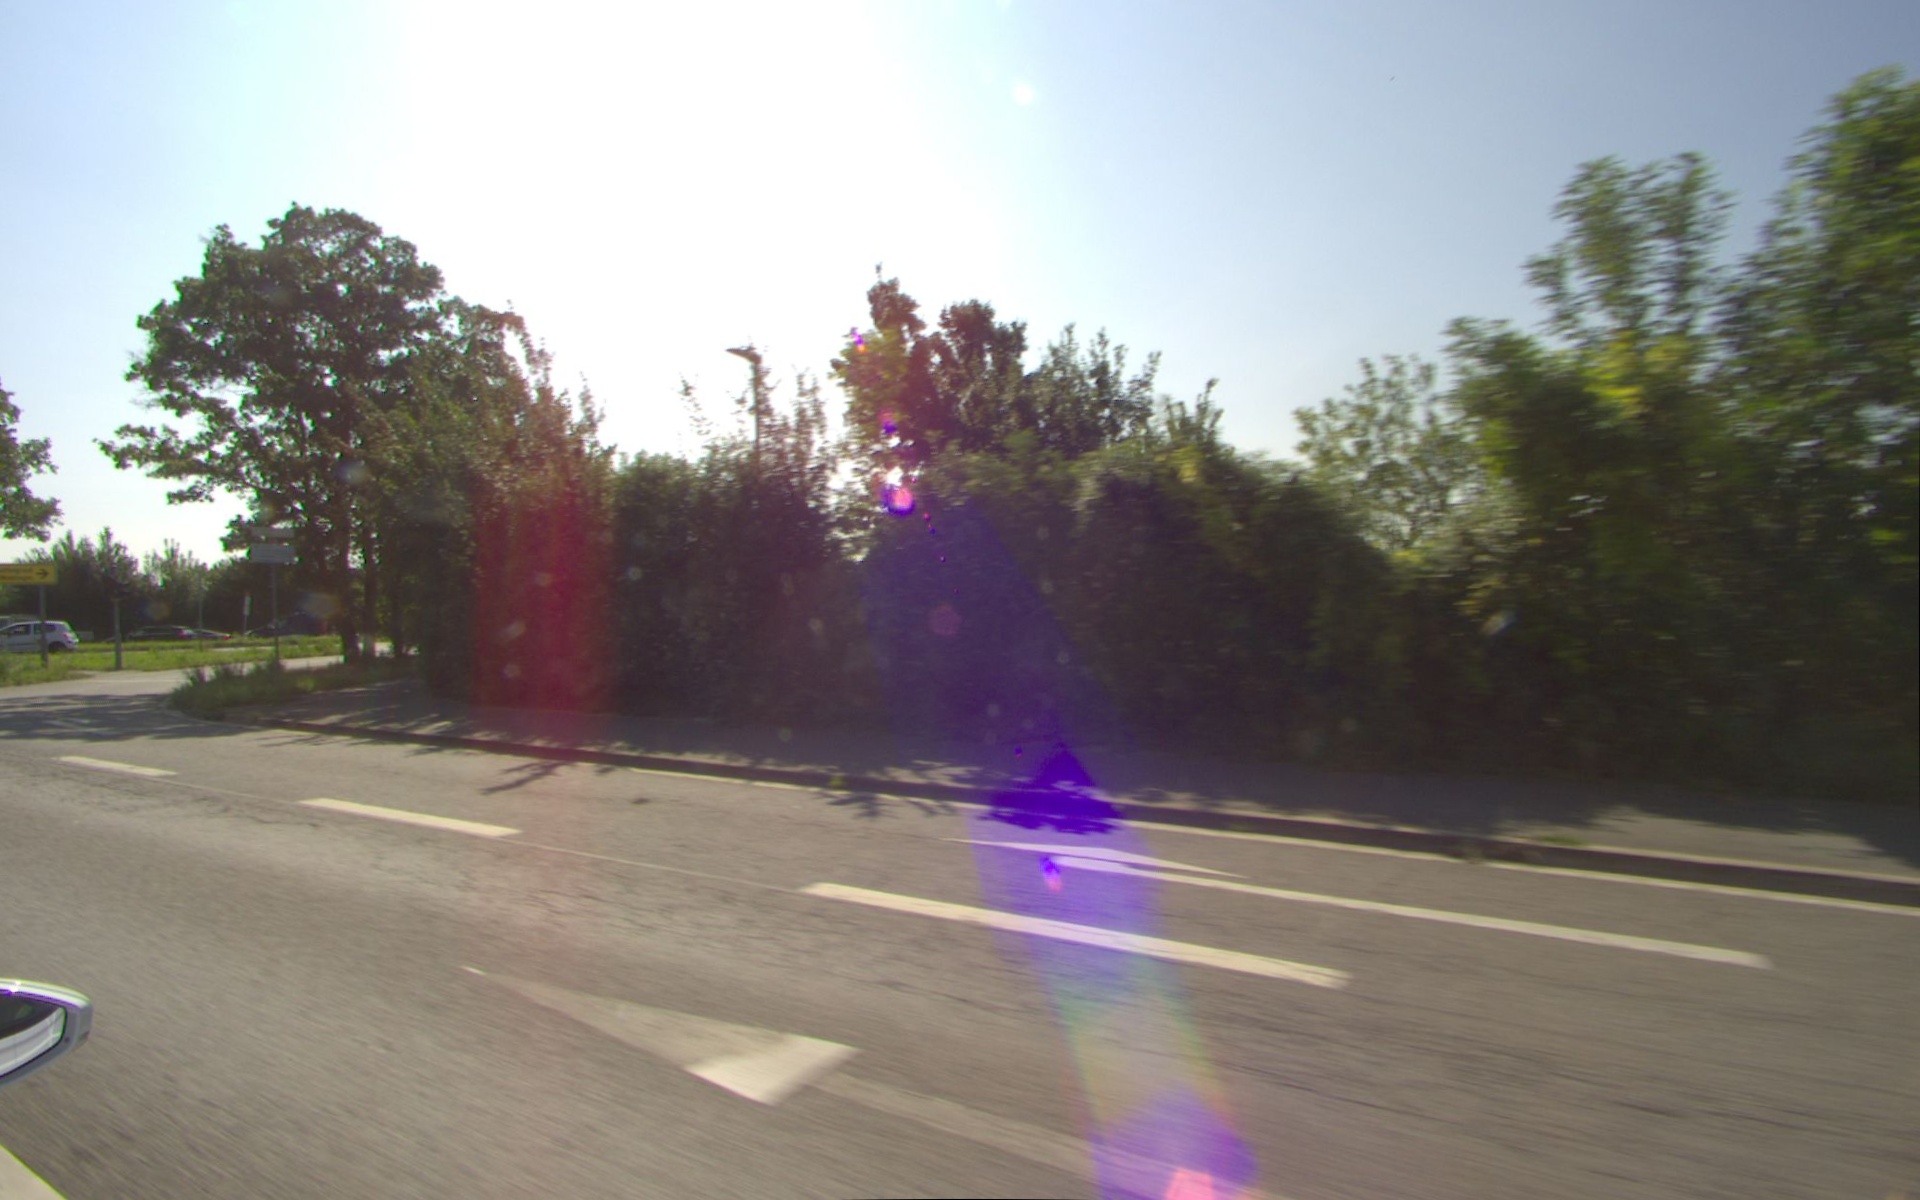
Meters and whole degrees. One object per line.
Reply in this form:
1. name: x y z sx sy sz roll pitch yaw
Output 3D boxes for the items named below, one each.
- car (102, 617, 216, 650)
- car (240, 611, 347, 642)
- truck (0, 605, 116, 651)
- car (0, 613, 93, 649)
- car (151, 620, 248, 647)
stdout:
1. car: -42.576 1.798 53.294 4.383 1.655 1.887 0 -2 -7
2. car: -35.928 1.431 54.072 4.387 1.655 1.885 0 -2 -14
3. truck: -50.980 1.567 55.475 6.349 2.416 2.347 -1 -2 -1
4. car: -40.209 1.317 43.461 3.706 1.488 1.774 0 0 -35
5. car: -42.866 1.908 56.535 3.923 1.438 1.891 -1 -2 -7
